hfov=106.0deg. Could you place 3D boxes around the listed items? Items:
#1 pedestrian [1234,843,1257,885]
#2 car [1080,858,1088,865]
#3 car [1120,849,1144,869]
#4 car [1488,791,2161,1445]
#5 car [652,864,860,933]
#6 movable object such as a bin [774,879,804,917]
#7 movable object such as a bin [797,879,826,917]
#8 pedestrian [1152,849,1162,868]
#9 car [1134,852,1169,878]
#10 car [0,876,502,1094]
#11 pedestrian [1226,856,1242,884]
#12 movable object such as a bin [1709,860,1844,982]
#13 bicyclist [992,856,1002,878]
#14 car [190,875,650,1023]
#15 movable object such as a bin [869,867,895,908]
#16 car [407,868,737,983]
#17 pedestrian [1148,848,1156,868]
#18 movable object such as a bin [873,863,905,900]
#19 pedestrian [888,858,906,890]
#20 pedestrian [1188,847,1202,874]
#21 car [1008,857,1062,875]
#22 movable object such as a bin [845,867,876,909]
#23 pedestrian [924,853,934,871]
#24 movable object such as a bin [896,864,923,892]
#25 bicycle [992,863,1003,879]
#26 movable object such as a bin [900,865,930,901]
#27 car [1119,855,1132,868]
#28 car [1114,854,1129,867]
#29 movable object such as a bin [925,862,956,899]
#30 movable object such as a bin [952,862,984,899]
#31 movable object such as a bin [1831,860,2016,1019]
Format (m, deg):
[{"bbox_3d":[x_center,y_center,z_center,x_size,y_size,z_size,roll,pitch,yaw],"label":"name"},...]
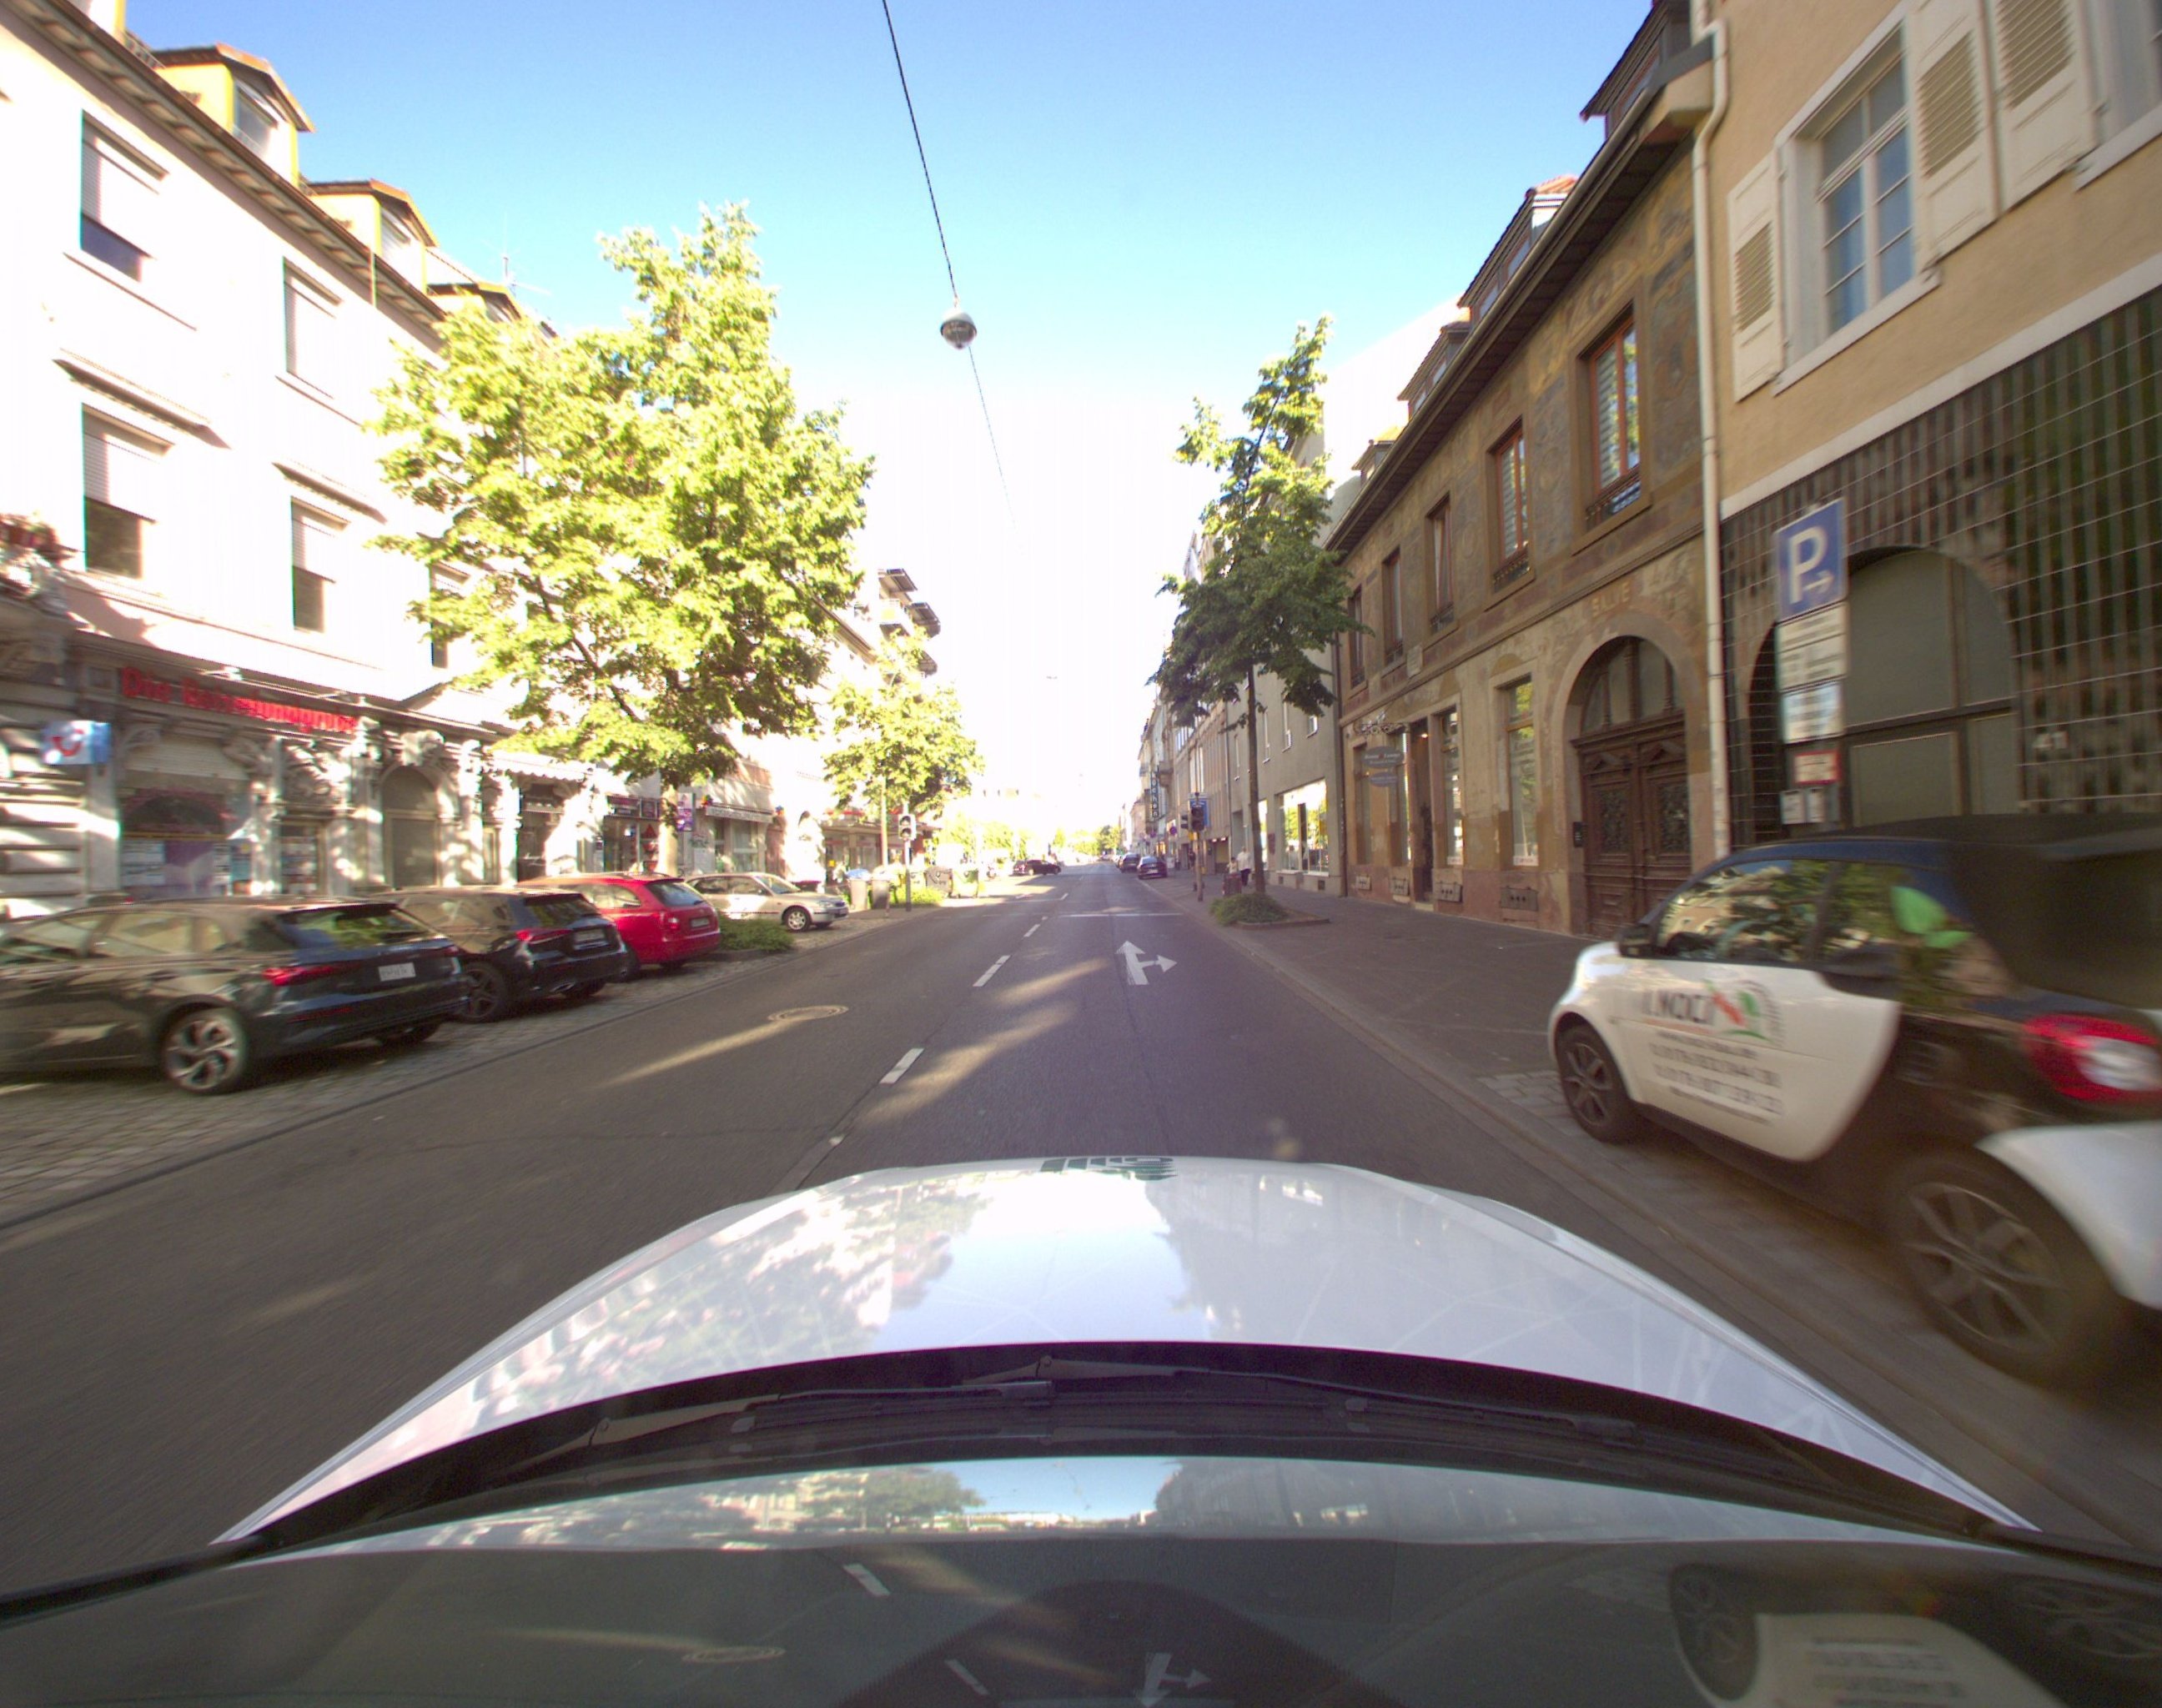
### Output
[{"bbox_3d":[6.430,0.386,31.865,0.578,1.559,1.020,-5,-1,0],"label":"pedestrian"},{"bbox_3d":[0.754,1.968,224.003,1.985,1.772,4.003,-1,0,3],"label":"car"},{"bbox_3d":[4.524,0.447,72.793,1.966,1.725,4.826,-1,0,2],"label":"car"},{"bbox_3d":[3.314,0.580,3.439,1.608,1.528,3.061,-4,0,1],"label":"car"},{"bbox_3d":[-7.627,1.021,19.344,4.185,1.468,1.741,-1,0,3],"label":"car"},{"bbox_3d":[-8.511,1.272,23.756,0.529,1.069,0.805,-2,0,0],"label":"movable object such as a bin"},{"bbox_3d":[-7.859,1.274,23.750,0.529,1.069,0.805,-2,0,0],"label":"movable object such as a bin"},{"bbox_3d":[6.970,0.370,74.403,0.797,1.675,0.590,-4,-1,4],"label":"pedestrian"},{"bbox_3d":[4.564,0.693,53.185,1.910,1.478,4.966,-6,0,2],"label":"car"},{"bbox_3d":[-7.421,0.994,6.800,3.903,1.485,1.772,-1,0,2],"label":"car"},{"bbox_3d":[5.939,0.626,31.664,0.392,1.033,0.739,-5,-1,0],"label":"pedestrian"},{"bbox_3d":[6.485,0.600,7.628,0.586,1.040,0.722,-4,0,2],"label":"movable object such as a bin"},{"bbox_3d":[-6.407,0.960,62.060,0.695,1.653,1.034,-2,0,-4],"label":"bicyclist"},{"bbox_3d":[-7.364,1.017,9.354,3.825,1.429,1.791,-1,0,2],"label":"car"},{"bbox_3d":[-6.688,1.117,27.400,0.632,1.341,0.805,-2,0,0],"label":"movable object such as a bin"},{"bbox_3d":[-7.346,0.992,12.037,3.735,1.468,1.740,-1,0,0],"label":"car"},{"bbox_3d":[6.468,0.348,74.429,0.617,1.766,0.519,-2,-1,4],"label":"pedestrian"},{"bbox_3d":[-8.052,1.141,34.219,1.038,1.471,1.143,-2,0,0],"label":"movable object such as a bin"},{"bbox_3d":[-9.858,1.064,43.729,0.662,1.659,1.037,-2,0,1],"label":"pedestrian"},{"bbox_3d":[7.268,0.392,51.903,0.689,1.635,0.889,-4,0,1],"label":"pedestrian"},{"bbox_3d":[-3.977,1.020,70.763,4.292,1.487,1.919,-1,0,-39],"label":"car"},{"bbox_3d":[-7.399,1.125,27.375,0.752,1.341,0.805,-2,0,0],"label":"movable object such as a bin"},{"bbox_3d":[-18.652,1.000,99.941,0.725,2.108,0.973,-2,-1,24],"label":"pedestrian"},{"bbox_3d":[-8.741,1.204,41.456,1.038,1.345,1.314,-2,0,0],"label":"movable object such as a bin"},{"bbox_3d":[-6.403,1.317,62.243,0.704,1.146,1.965,-2,0,-3],"label":"bicycle"},{"bbox_3d":[-6.962,1.205,34.238,0.960,1.471,1.143,-2,-1,0],"label":"movable object such as a bin"},{"bbox_3d":[5.670,0.964,103.202,1.607,1.546,2.857,-1,0,3],"label":"car"},{"bbox_3d":[5.378,0.893,108.607,1.711,1.636,4.083,-1,-1,0],"label":"car"},{"bbox_3d":[-5.894,1.111,34.241,1.038,1.471,1.143,-2,0,0],"label":"movable object such as a bin"},{"bbox_3d":[-4.741,1.093,34.251,1.038,1.471,1.452,-2,0,0],"label":"movable object such as a bin"},{"bbox_3d":[6.027,0.582,5.868,0.520,1.040,0.722,-4,0,2],"label":"movable object such as a bin"}]
